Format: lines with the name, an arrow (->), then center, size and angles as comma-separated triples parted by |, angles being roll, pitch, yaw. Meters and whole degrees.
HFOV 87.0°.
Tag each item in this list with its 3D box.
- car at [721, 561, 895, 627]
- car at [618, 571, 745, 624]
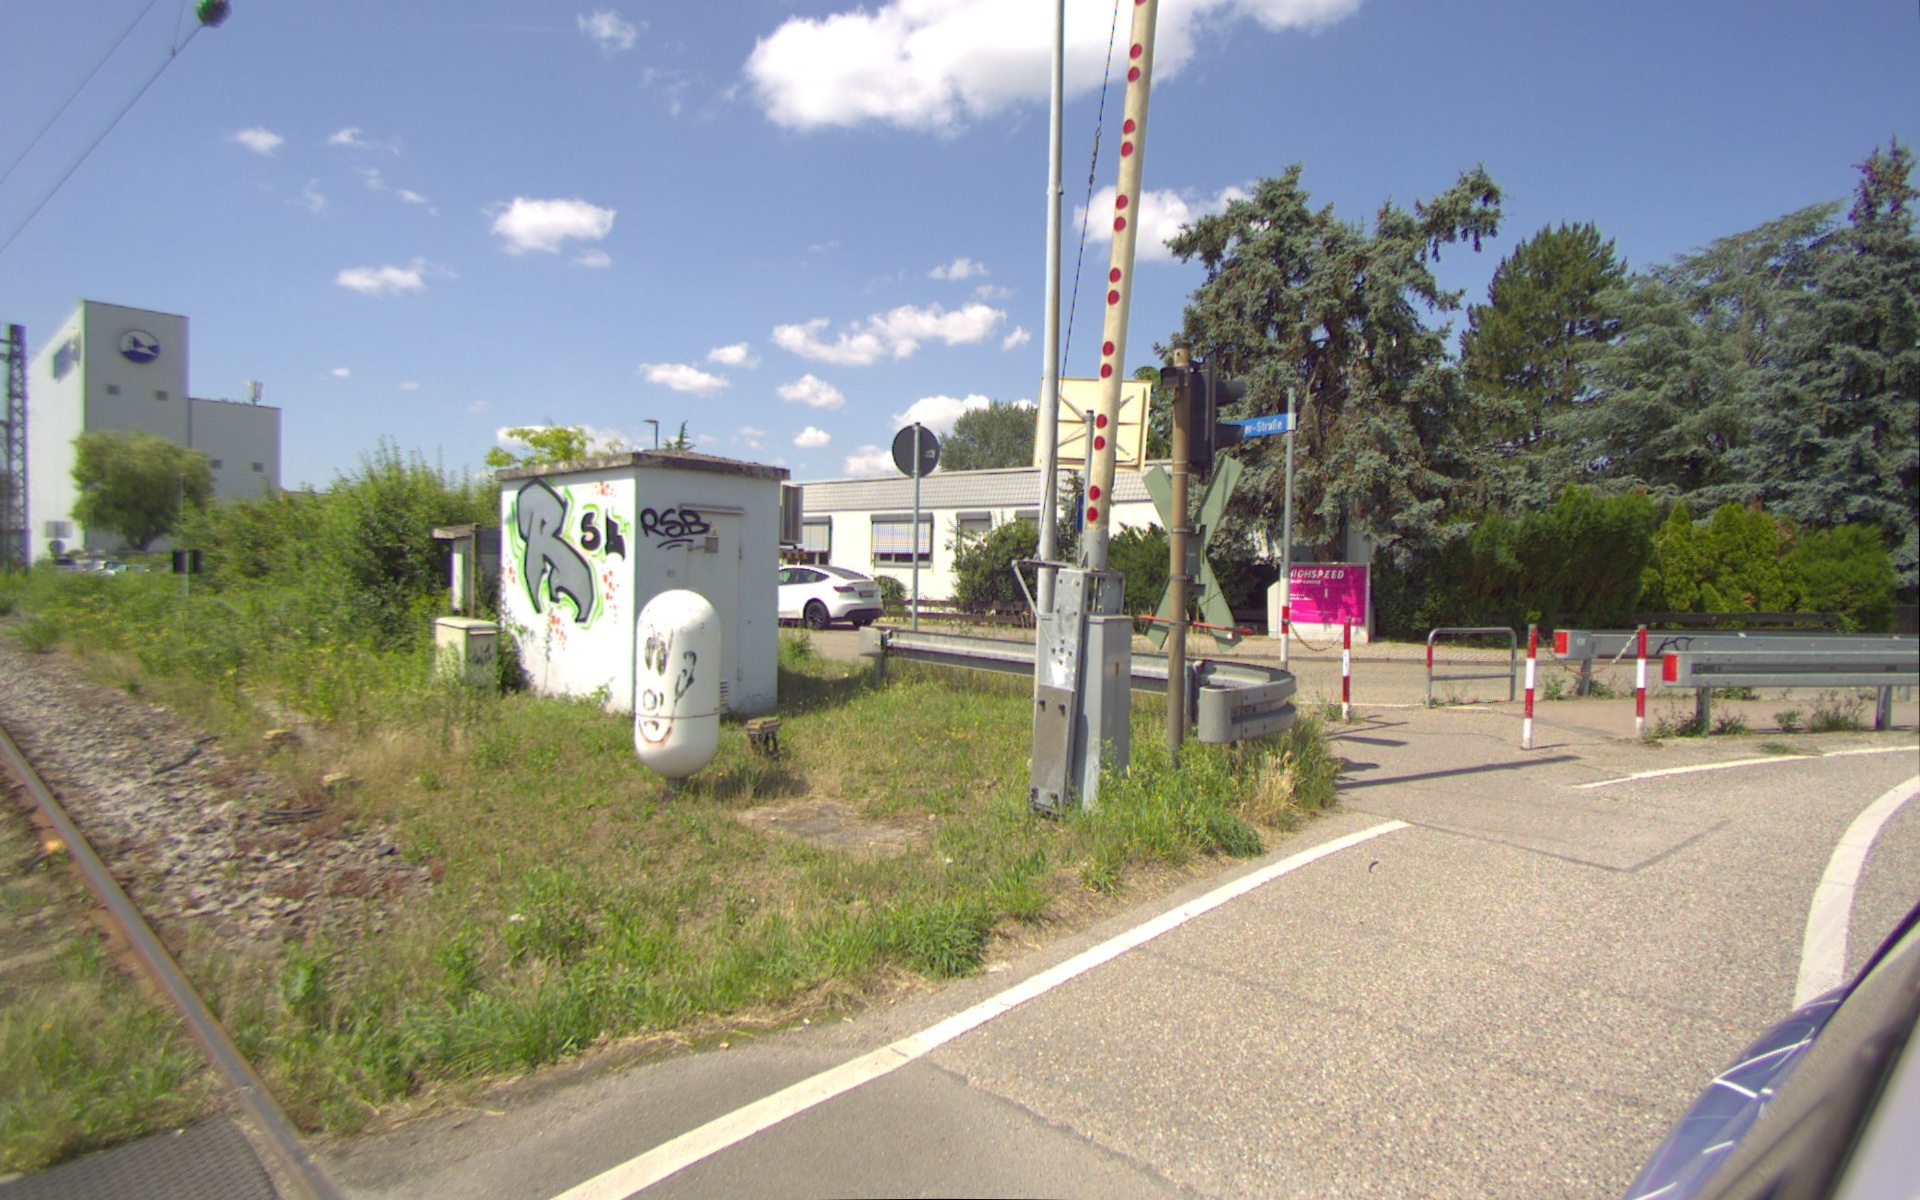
car -> -4.028, -0.205, 26.453 | 4.430, 1.528, 1.973 | 2, 2, 37
car -> -8.326, -0.105, 30.151 | 3.979, 1.473, 1.628 | 1, 1, 38
